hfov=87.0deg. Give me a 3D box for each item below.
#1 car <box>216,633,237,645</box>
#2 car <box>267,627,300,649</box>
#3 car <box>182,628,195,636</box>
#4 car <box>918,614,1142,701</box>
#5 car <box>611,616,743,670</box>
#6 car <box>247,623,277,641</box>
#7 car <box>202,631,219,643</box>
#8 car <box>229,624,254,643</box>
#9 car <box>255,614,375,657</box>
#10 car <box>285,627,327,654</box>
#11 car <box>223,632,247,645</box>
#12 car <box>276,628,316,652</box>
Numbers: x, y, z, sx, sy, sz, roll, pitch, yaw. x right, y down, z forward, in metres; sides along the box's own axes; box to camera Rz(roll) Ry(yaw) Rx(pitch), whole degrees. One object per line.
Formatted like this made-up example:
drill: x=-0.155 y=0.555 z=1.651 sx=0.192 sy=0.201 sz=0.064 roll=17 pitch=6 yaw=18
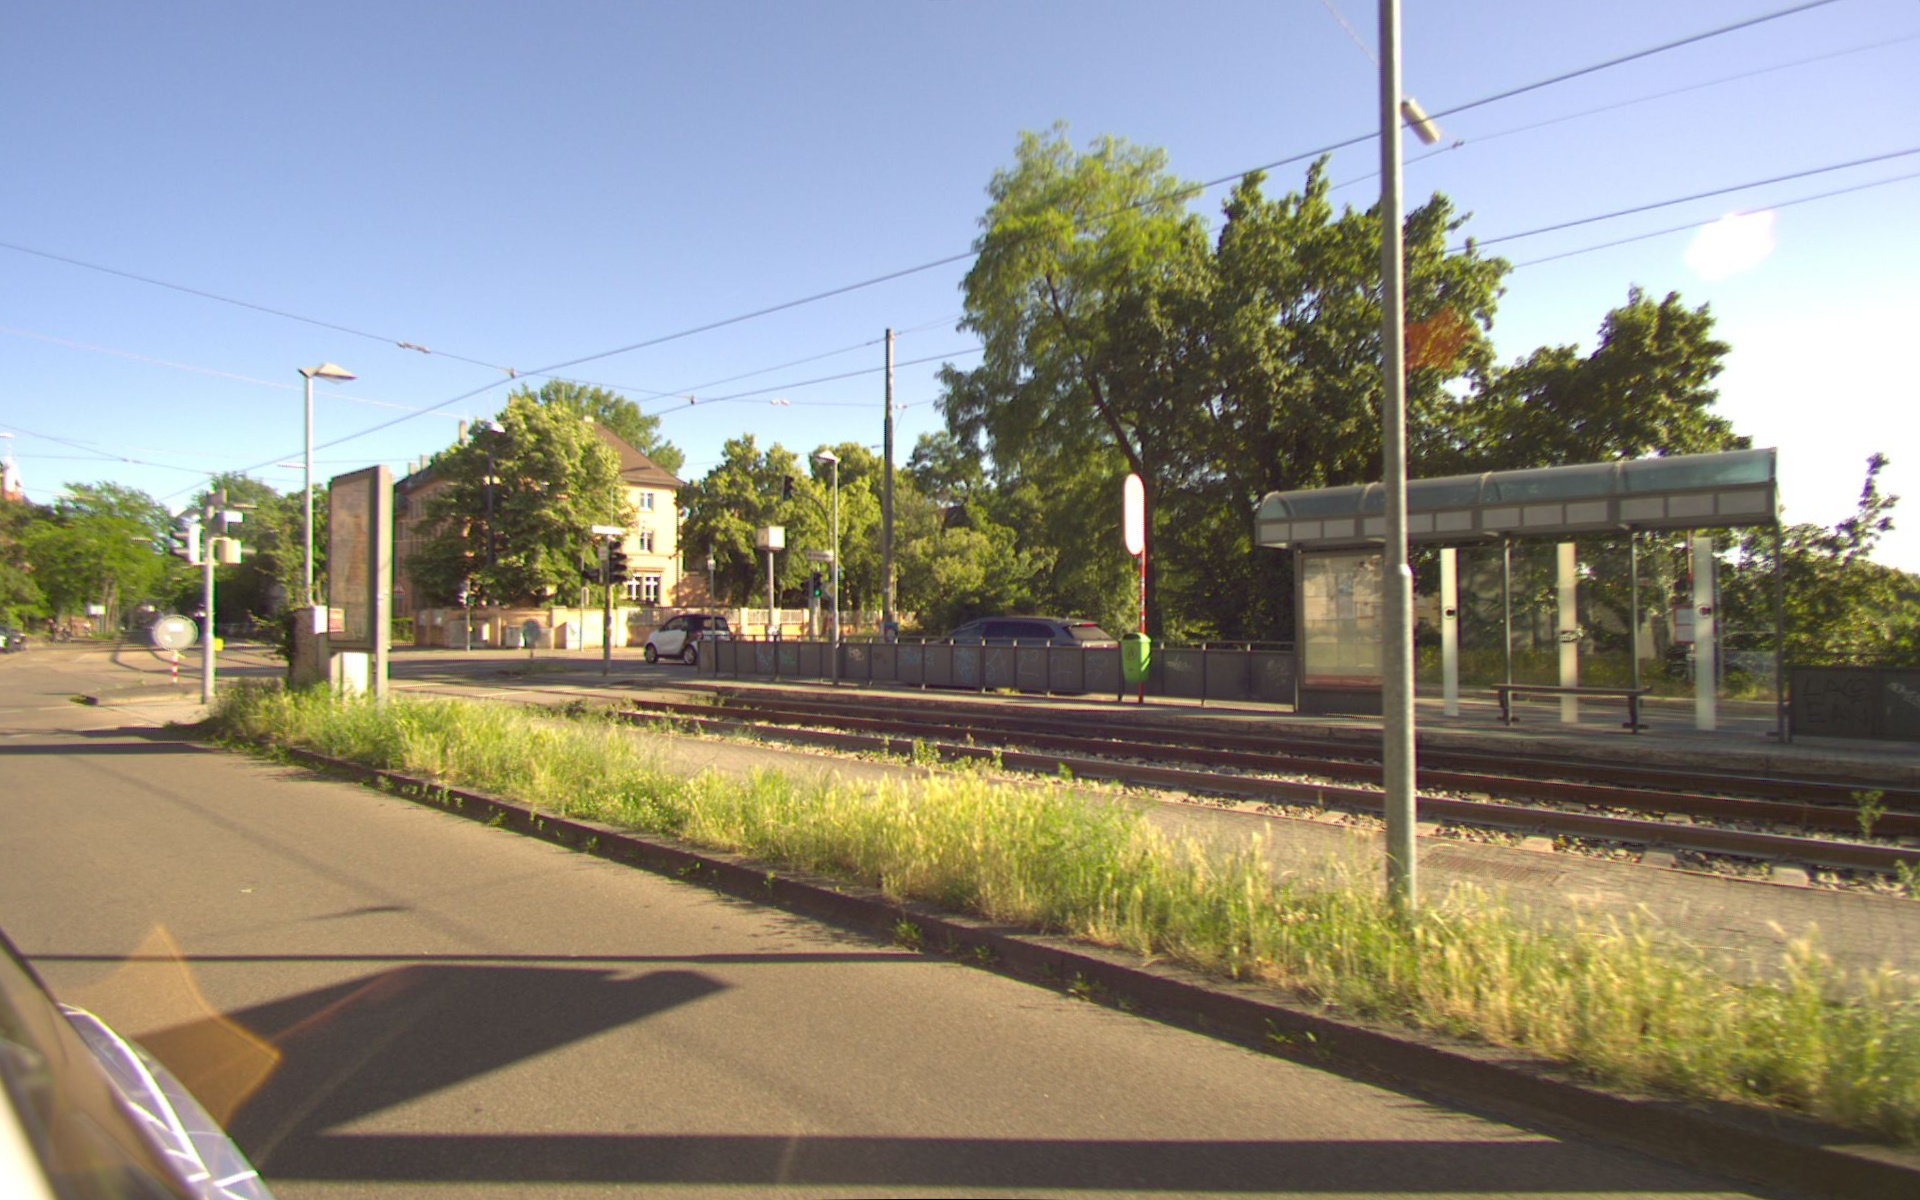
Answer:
car: x=-88.600 y=4.674 z=122.235 sx=1.789 sy=1.430 sz=3.635 roll=2 pitch=-3 yaw=-41
car: x=-53.109 y=2.980 z=79.394 sx=1.788 sy=1.671 sz=3.883 roll=1 pitch=-2 yaw=-39
car: x=-150.139 y=6.198 z=196.867 sx=1.789 sy=1.430 sz=3.635 roll=1 pitch=-2 yaw=-41
car: x=1.268 y=1.036 z=19.352 sx=3.997 sy=1.478 sz=1.787 roll=-1 pitch=-2 yaw=40
car: x=-8.831 y=1.315 z=31.513 sx=3.991 sy=1.579 sz=1.904 roll=-1 pitch=-2 yaw=36
car: x=-63.406 y=2.918 z=91.888 sx=1.789 sy=1.611 sz=3.635 roll=2 pitch=-3 yaw=-41
car: x=-113.865 y=5.595 z=153.757 sx=1.789 sy=1.792 sz=3.635 roll=2 pitch=-3 yaw=-41
car: x=-76.853 y=3.614 z=108.213 sx=1.789 sy=1.955 sz=3.635 roll=2 pitch=-3 yaw=-41
car: x=-28.858 y=1.538 z=45.264 sx=4.996 sy=1.780 sz=1.986 roll=1 pitch=-1 yaw=22
car: x=-44.628 y=2.727 z=69.047 sx=1.790 sy=1.719 sz=3.378 roll=1 pitch=-1 yaw=-43
car: x=-82.746 y=4.423 z=115.480 sx=1.789 sy=1.430 sz=3.635 roll=2 pitch=-3 yaw=-41
car: x=-47.878 y=2.885 z=72.921 sx=1.790 sy=1.671 sz=3.823 roll=2 pitch=-3 yaw=-43
